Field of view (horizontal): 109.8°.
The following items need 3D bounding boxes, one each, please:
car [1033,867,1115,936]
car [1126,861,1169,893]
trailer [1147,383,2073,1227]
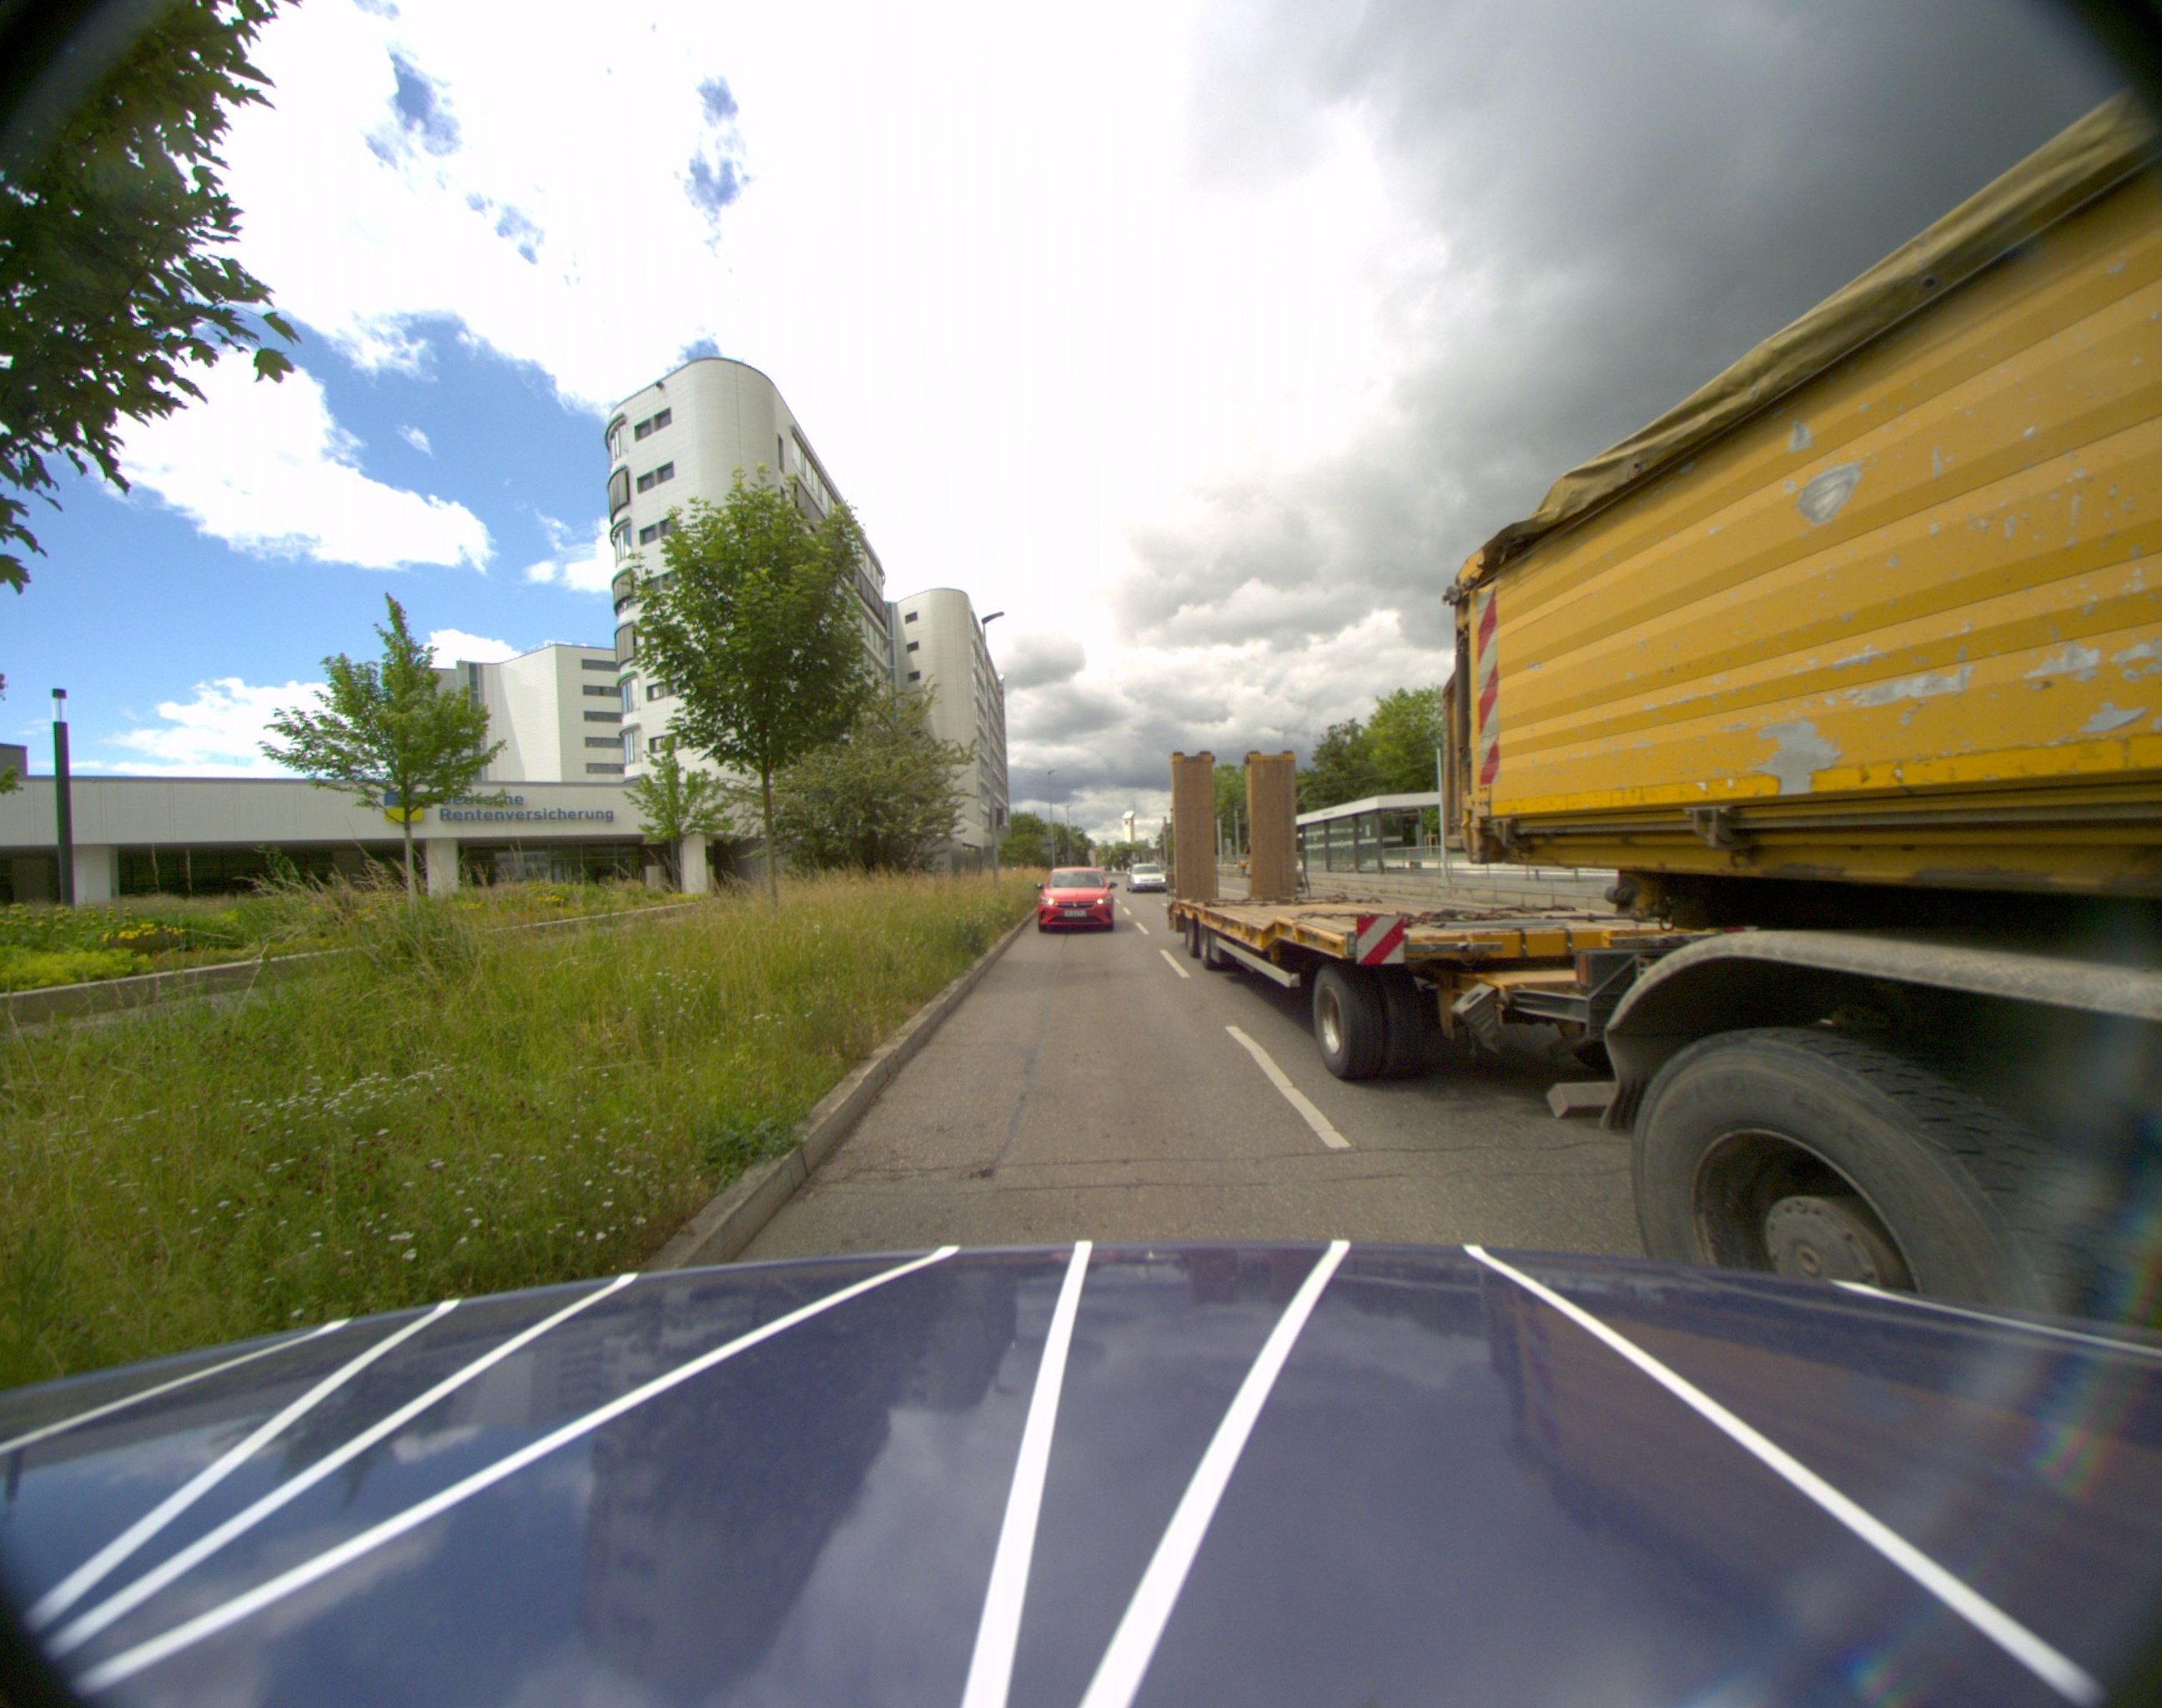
[{"bbox_3d":[-0.111,1.057,18.197,1.749,1.408,3.676,-1,0,1],"label":"car"},{"bbox_3d":[3.203,1.076,37.236,1.784,1.408,3.785,-2,0,1],"label":"car"},{"bbox_3d":[2.858,-0.194,8.885,3.057,3.676,10.965,-2,0,0],"label":"trailer"}]
